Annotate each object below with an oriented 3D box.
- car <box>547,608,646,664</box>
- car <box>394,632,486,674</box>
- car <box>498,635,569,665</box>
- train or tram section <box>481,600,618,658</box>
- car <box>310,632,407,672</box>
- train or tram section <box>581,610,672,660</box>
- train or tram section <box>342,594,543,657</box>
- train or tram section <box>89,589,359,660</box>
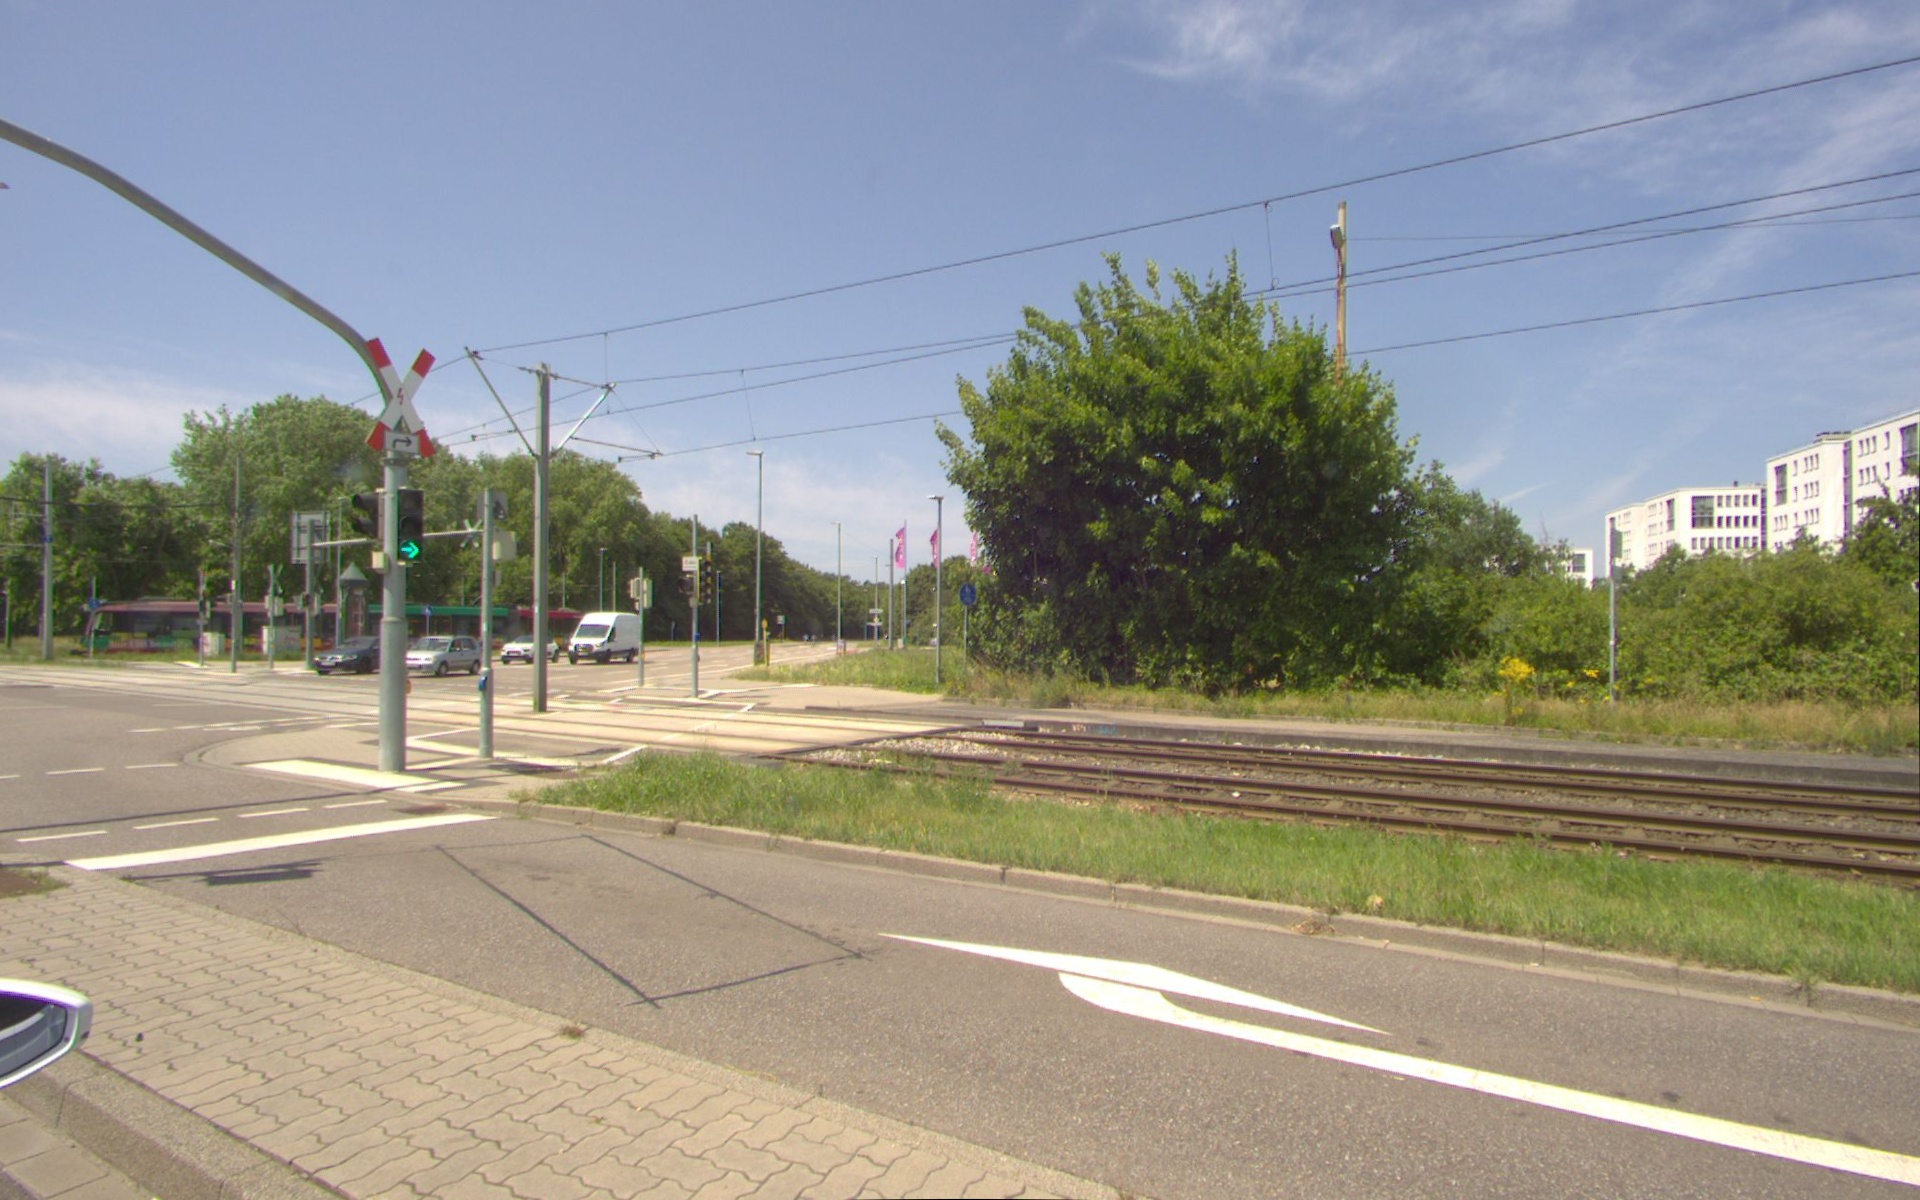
[{"bbox_3d":[-19.672,1.943,54.700,2.664,2.838,7.287,0,-2,0],"label":"car"},{"bbox_3d":[-19.538,1.972,37.785,1.608,1.481,3.807,0,-2,-3],"label":"car"},{"bbox_3d":[-22.506,2.599,53.015,1.608,1.481,4.495,0,-2,3],"label":"car"},{"bbox_3d":[-32.318,2.505,79.952,2.869,3.965,14.050,-2,-4,11],"label":"train or tram section"},{"bbox_3d":[-23.142,1.971,38.658,1.608,1.481,3.510,0,-2,0],"label":"car"},{"bbox_3d":[-30.718,3.436,93.116,2.867,3.965,13.981,-2,-4,4],"label":"train or tram section"},{"bbox_3d":[-35.804,2.017,70.376,2.879,3.856,13.415,-3,-5,27],"label":"train or tram section"},{"bbox_3d":[-44.080,1.567,60.757,12.910,3.857,2.907,2,-5,-35],"label":"train or tram section"}]
